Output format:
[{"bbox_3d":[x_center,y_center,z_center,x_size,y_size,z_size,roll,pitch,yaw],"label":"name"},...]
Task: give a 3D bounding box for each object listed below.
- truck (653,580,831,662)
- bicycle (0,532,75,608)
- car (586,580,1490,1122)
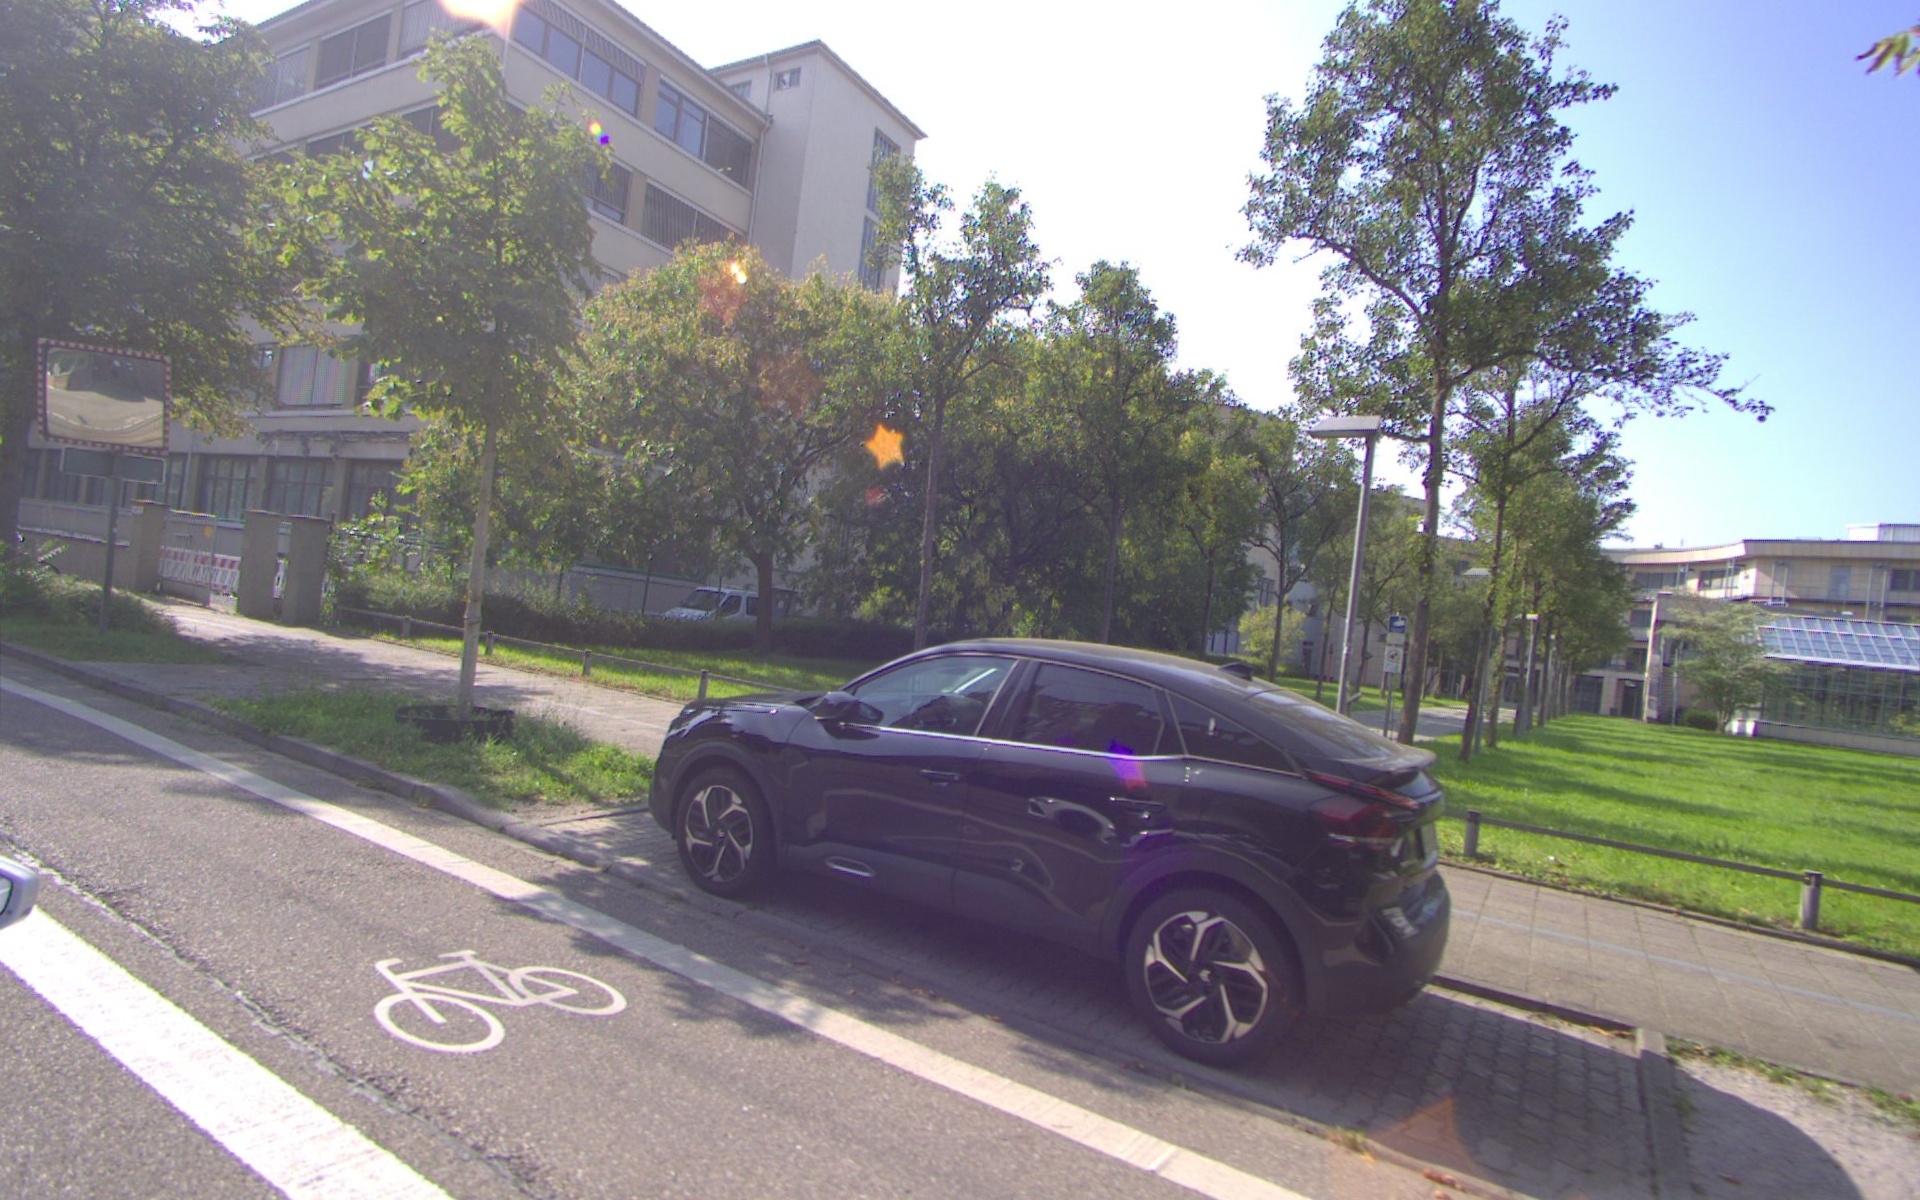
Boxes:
[{"bbox_3d":[-7.639,0.836,36.174,2.086,2.240,6.577,6,-2,32],"label":"truck"},{"bbox_3d":[-14.566,-0.493,15.051,0.783,1.077,1.771,6,0,30],"label":"bicycle"},{"bbox_3d":[0.240,0.907,5.354,4.363,1.504,1.743,7,0,31],"label":"car"}]
